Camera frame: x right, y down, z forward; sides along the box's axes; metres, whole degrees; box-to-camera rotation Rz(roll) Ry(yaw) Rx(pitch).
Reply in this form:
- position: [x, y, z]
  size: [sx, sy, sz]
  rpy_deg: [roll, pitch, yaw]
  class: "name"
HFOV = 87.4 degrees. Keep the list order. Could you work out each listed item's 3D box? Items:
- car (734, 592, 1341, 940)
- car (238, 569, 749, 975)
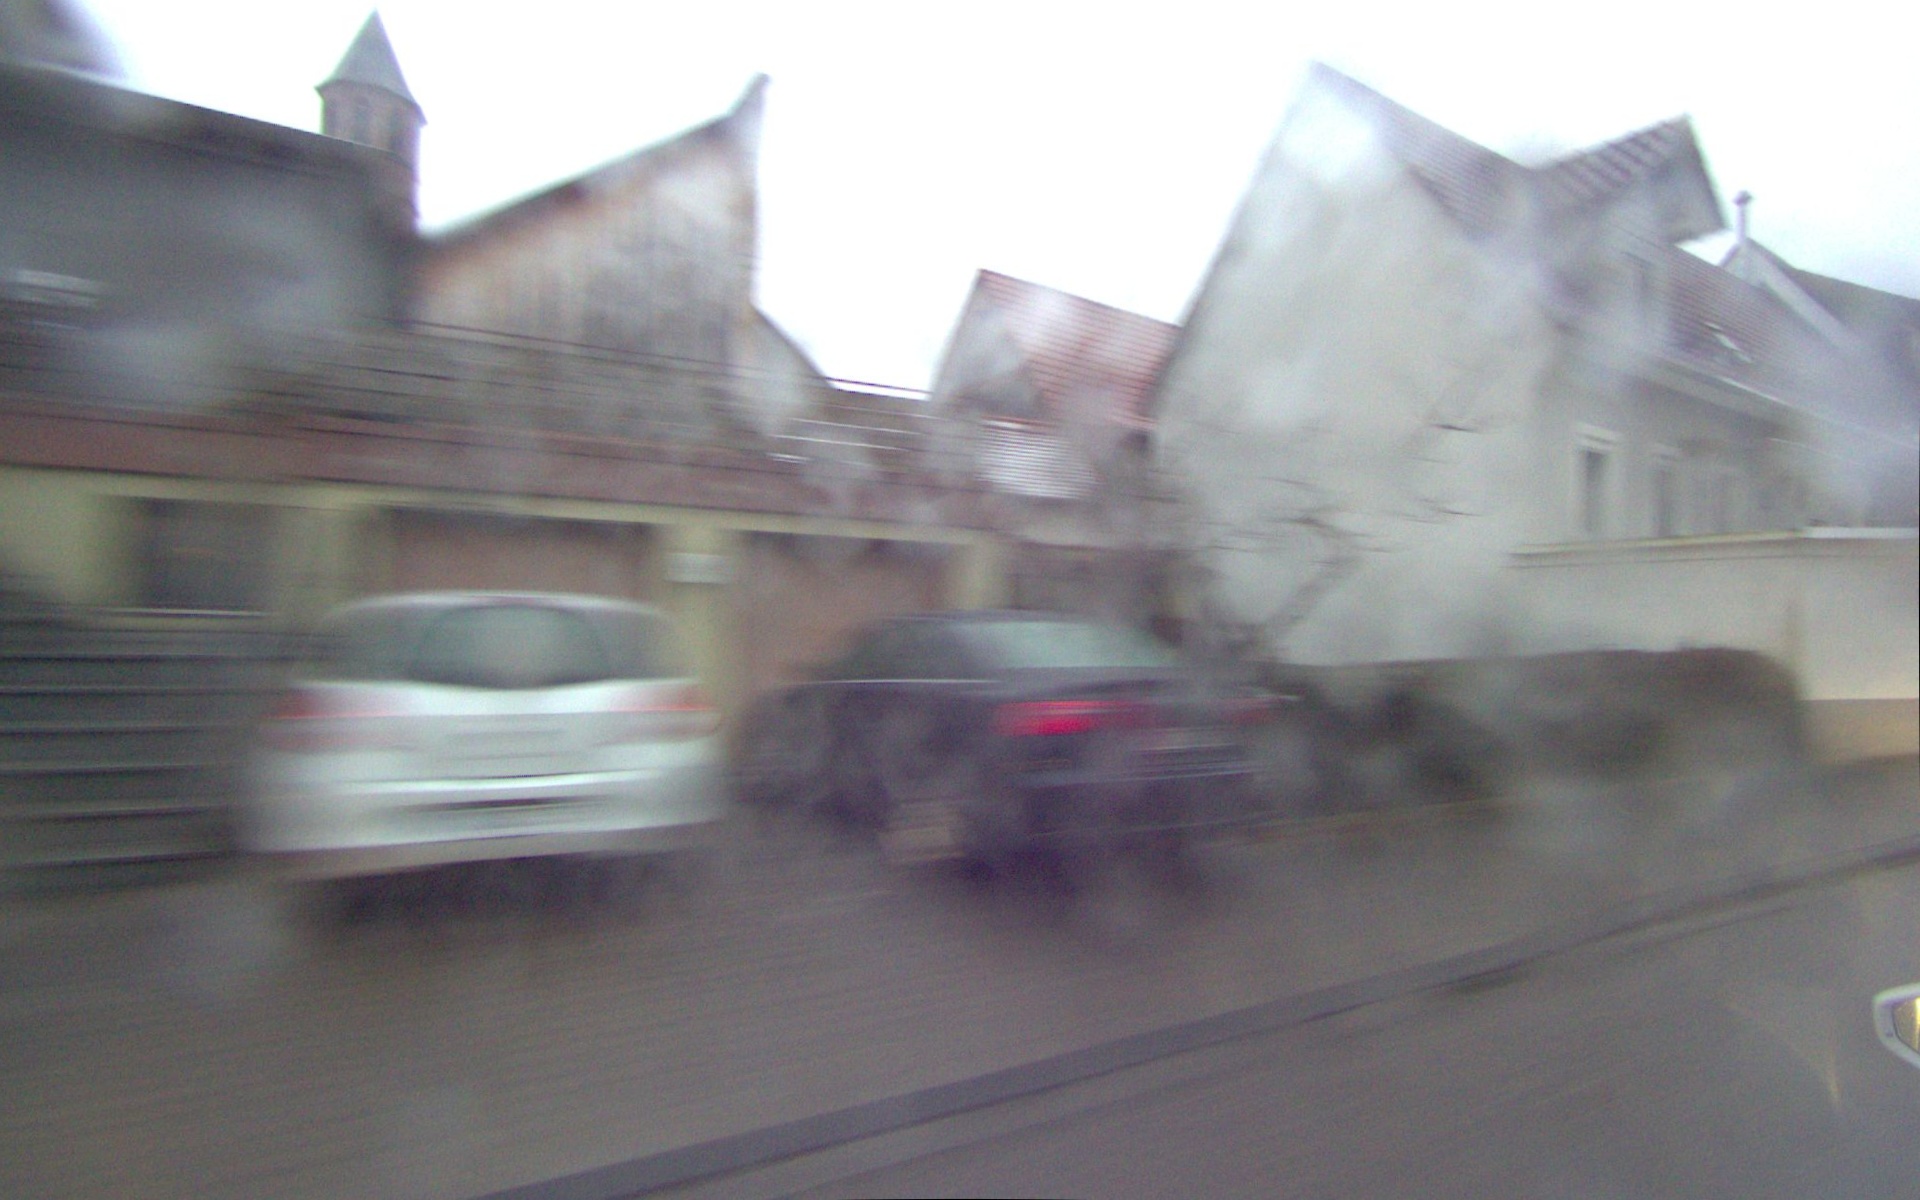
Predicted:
- position: [0.064, 0.775, 6.808]
  size: [1.975, 1.490, 4.575]
  rpy_deg: [1, -2, -28]
  class: "car"
- position: [-2.730, 0.697, 6.198]
  size: [1.866, 1.490, 4.591]
  rpy_deg: [1, -2, -24]
  class: "car"
